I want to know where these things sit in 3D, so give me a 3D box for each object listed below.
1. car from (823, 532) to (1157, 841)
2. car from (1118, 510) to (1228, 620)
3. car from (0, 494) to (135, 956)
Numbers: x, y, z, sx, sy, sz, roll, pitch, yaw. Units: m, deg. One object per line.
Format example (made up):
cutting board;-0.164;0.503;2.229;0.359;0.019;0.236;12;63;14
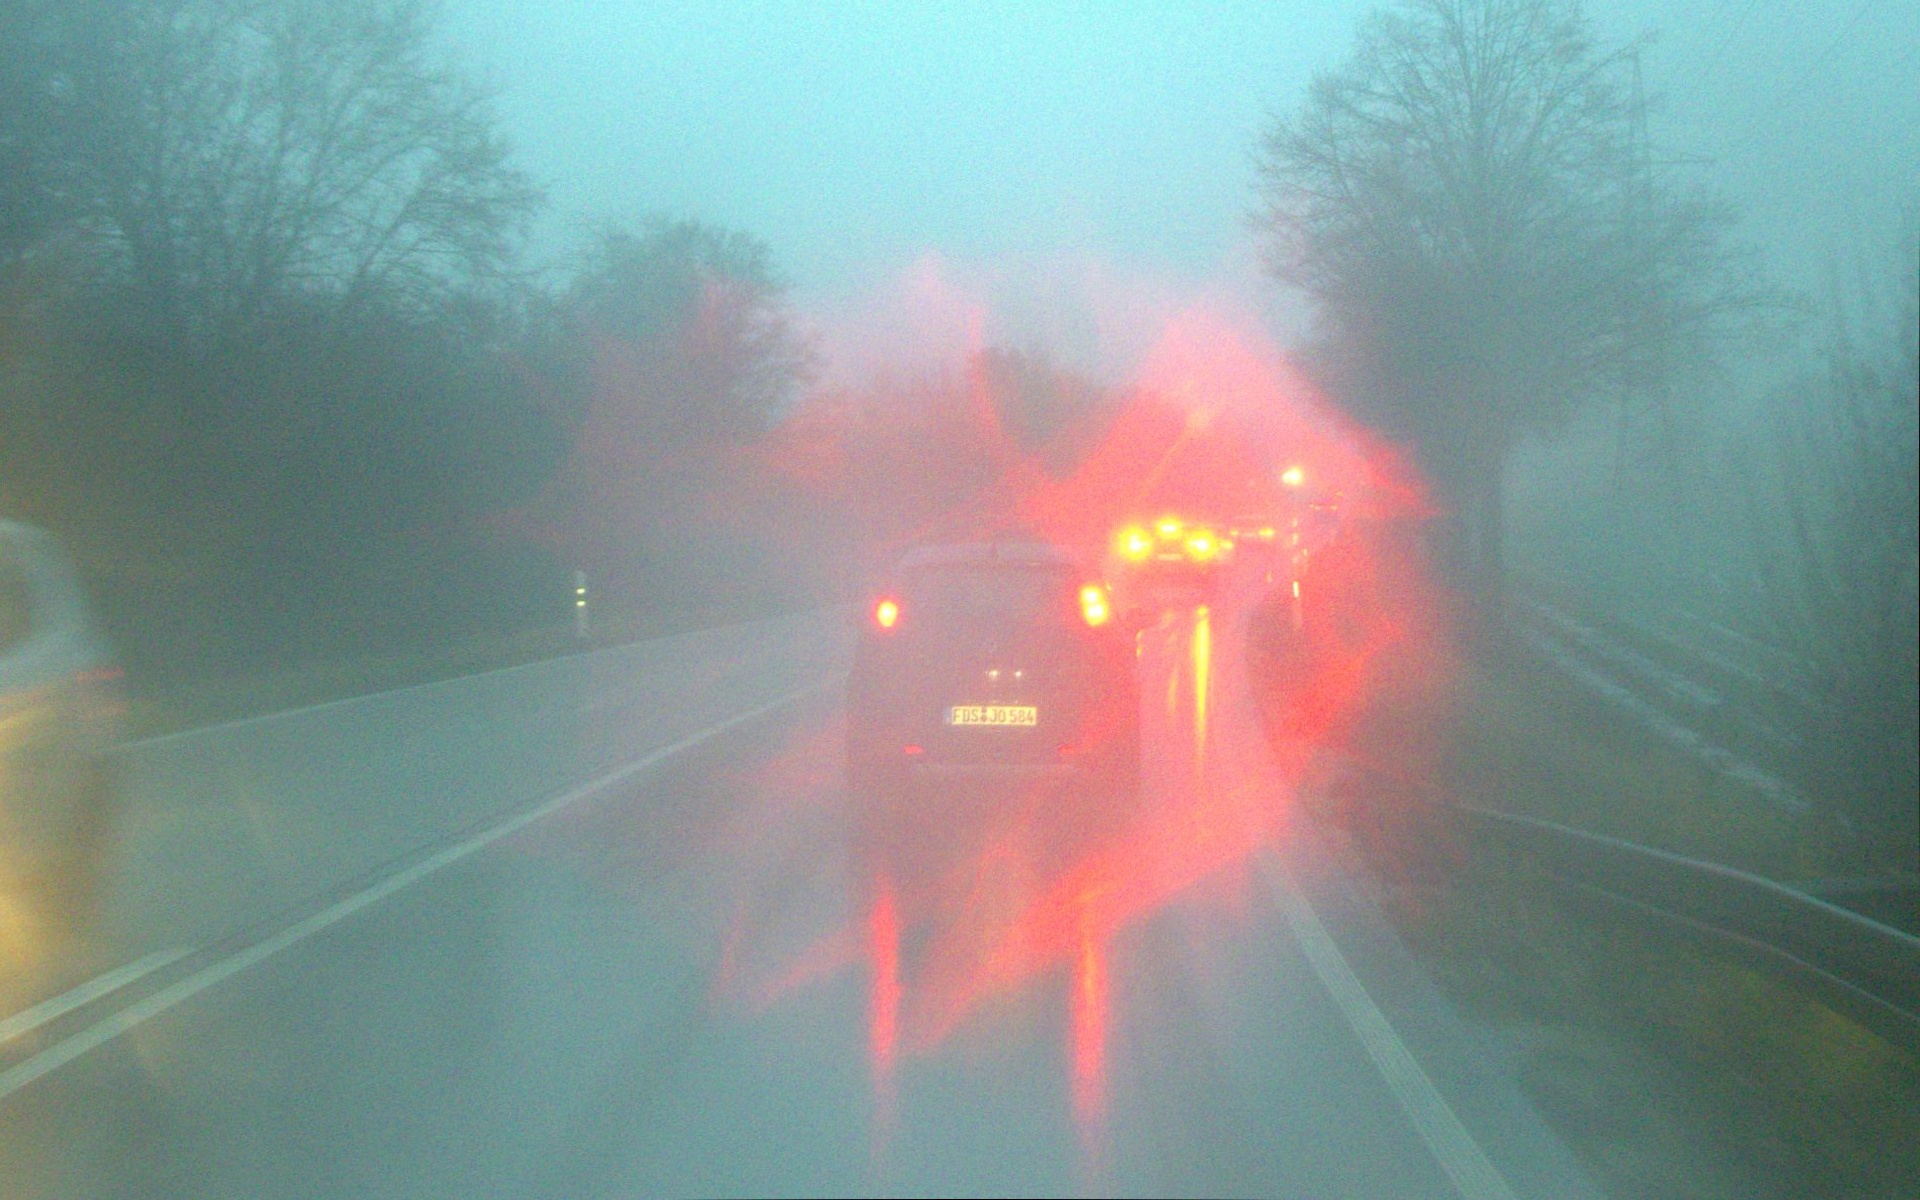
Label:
car;0.153;0.432;20.800;1.730;1.527;4.043;-4;2;0
car;4.374;-0.707;71.051;1.946;2.007;4.000;-6;0;2
car;-4.123;0.439;11.422;1.700;1.570;4.000;-1;1;1
